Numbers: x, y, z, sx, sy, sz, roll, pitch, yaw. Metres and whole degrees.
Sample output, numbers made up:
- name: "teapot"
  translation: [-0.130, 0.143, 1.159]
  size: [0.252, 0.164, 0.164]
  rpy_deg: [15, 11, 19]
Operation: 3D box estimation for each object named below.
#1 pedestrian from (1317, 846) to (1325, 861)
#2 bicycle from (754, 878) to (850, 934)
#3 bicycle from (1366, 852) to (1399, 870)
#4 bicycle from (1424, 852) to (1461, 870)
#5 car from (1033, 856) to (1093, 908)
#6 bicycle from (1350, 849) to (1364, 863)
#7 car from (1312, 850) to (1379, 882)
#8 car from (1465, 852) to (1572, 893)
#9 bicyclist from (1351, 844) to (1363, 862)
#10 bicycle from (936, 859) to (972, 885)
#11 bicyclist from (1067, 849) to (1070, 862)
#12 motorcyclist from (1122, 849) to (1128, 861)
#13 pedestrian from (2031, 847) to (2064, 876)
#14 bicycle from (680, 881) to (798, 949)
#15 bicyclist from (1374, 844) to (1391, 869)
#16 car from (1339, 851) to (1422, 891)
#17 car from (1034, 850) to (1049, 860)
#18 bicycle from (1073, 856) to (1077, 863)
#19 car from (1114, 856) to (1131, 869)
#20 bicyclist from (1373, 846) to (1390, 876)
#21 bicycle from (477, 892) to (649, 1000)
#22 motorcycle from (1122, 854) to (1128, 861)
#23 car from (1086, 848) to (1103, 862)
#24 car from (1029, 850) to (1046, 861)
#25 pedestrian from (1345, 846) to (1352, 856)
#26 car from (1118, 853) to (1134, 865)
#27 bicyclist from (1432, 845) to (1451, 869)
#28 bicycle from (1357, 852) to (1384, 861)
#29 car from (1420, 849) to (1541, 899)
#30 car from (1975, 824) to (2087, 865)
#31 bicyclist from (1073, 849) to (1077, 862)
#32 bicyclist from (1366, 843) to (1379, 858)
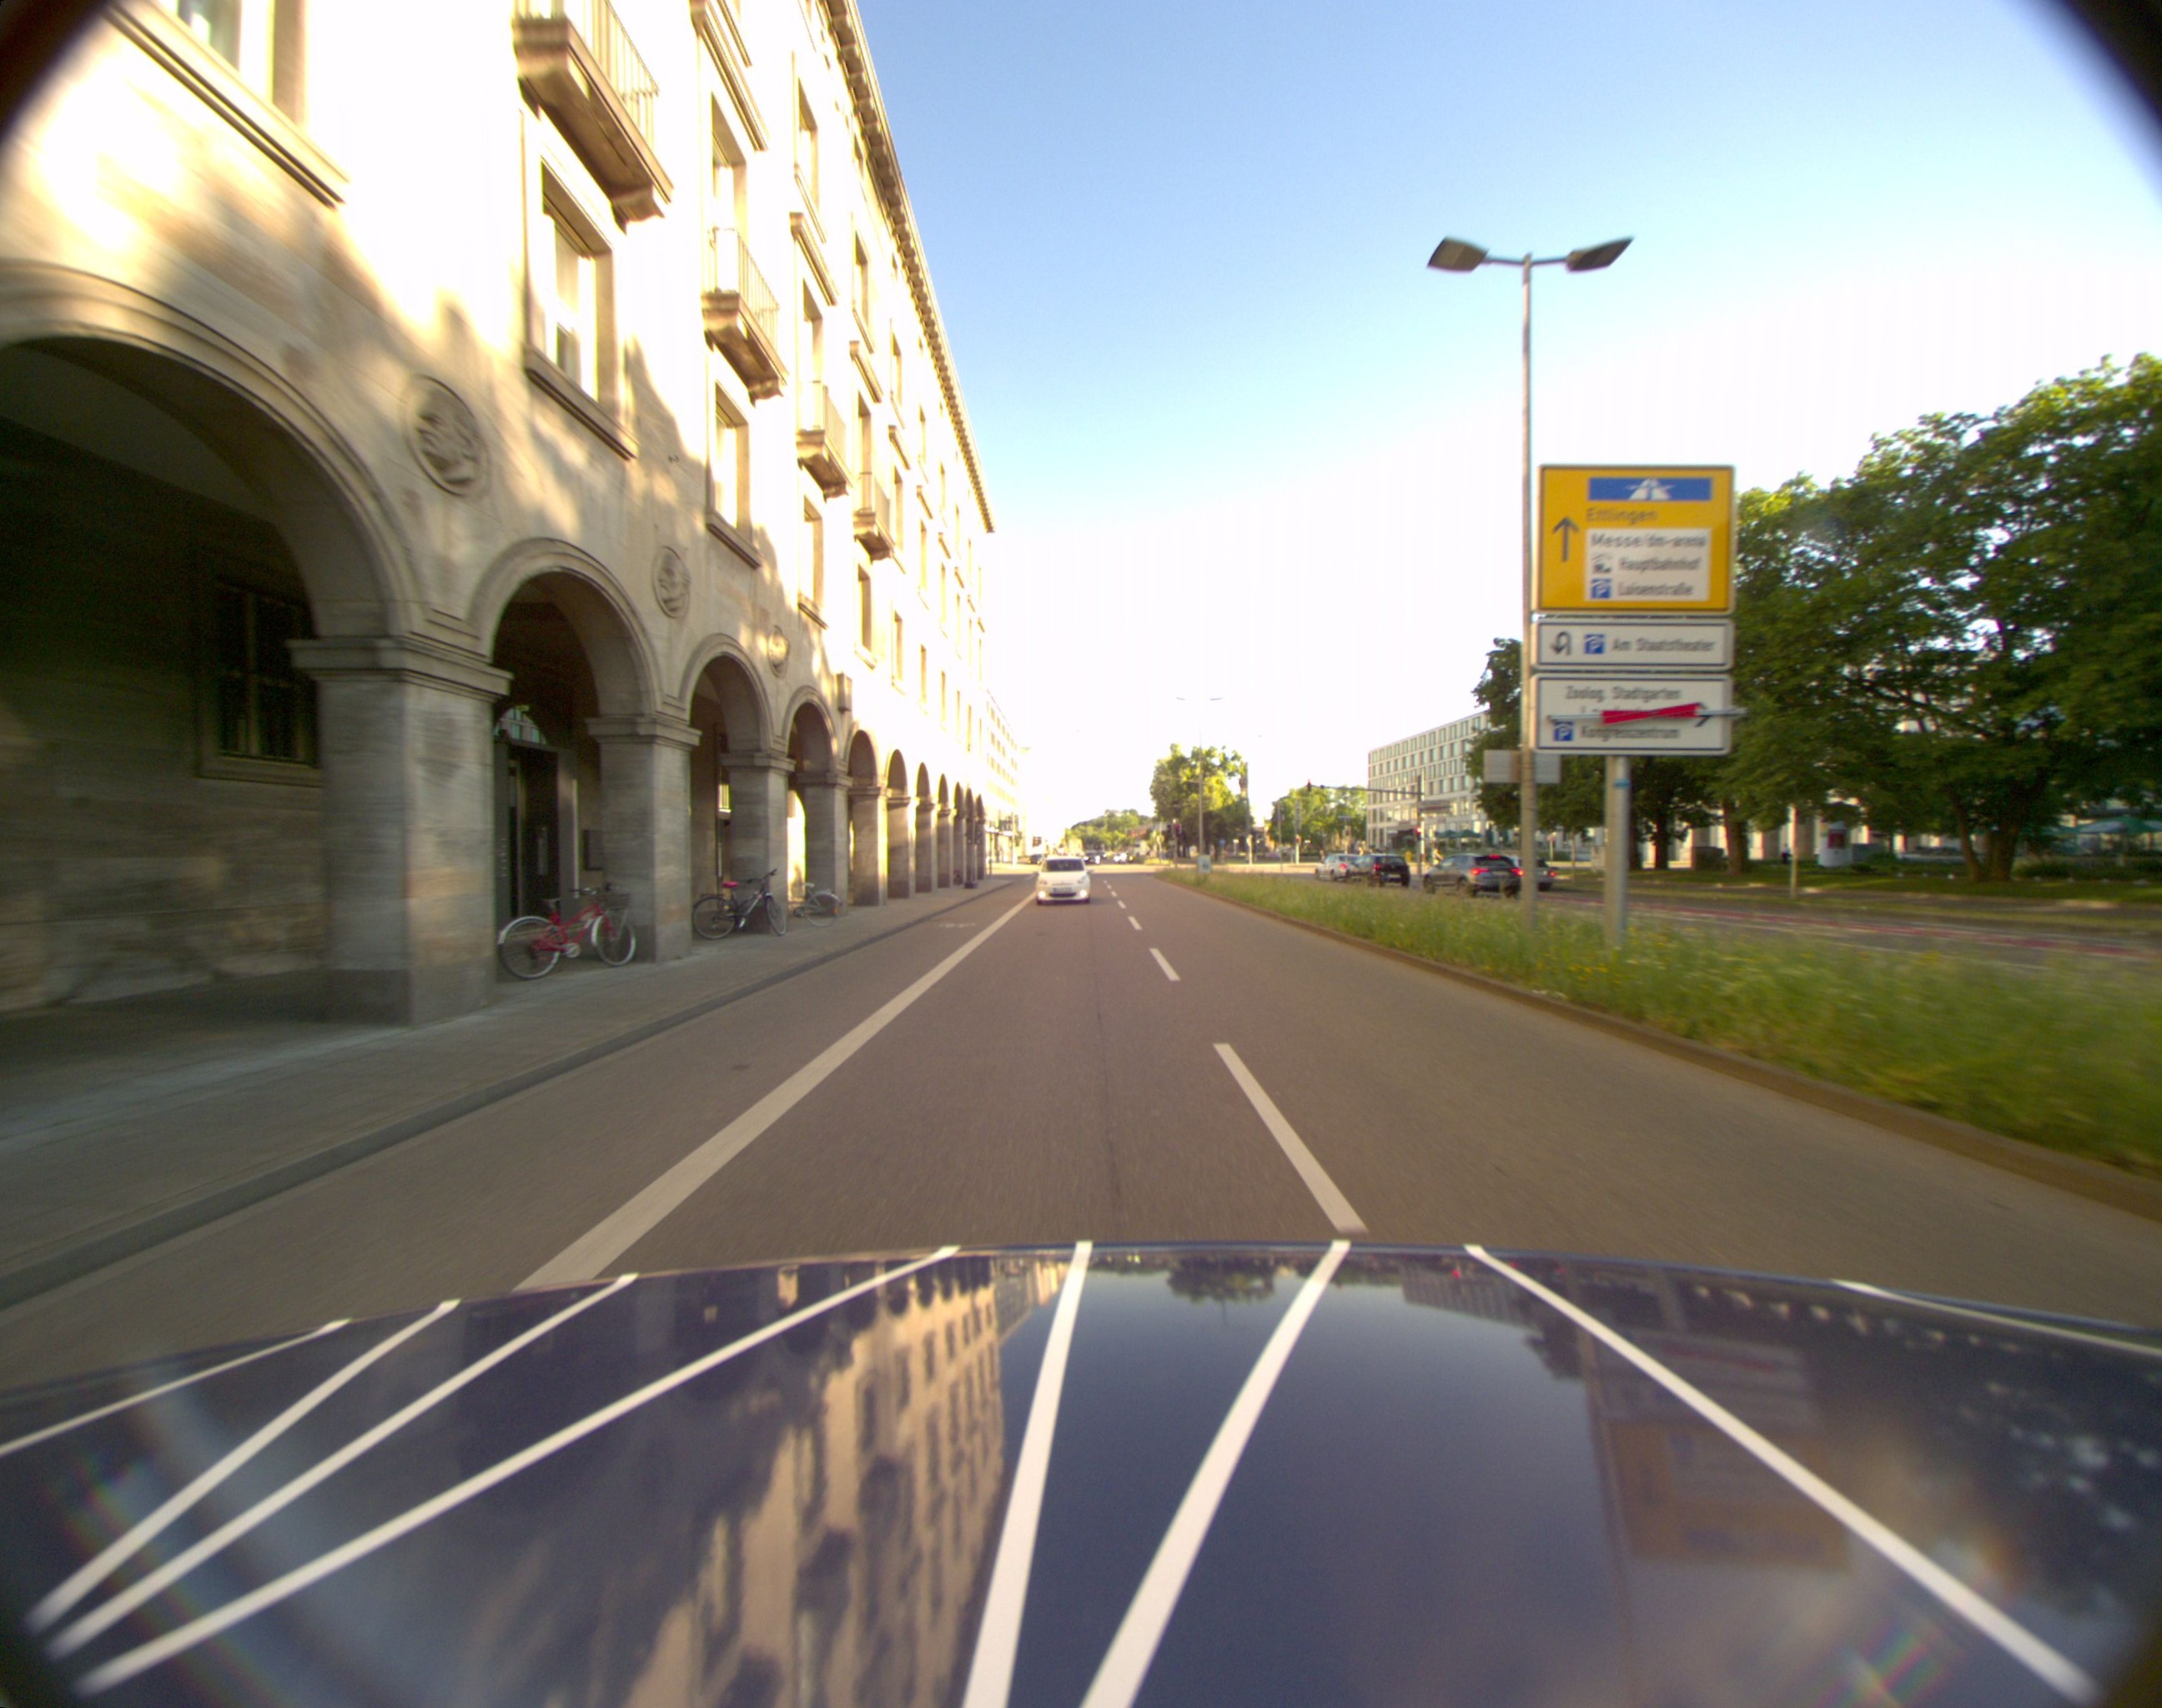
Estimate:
- name: "pedestrian"
  translation: [25.577, -0.053, 80.891]
  size: [0.623, 1.517, 0.603]
  rpy_deg: [0, 1, -4]
- name: "bicycle"
  translation: [-5.452, 1.009, 14.927]
  size: [1.714, 1.044, 0.527]
  rpy_deg: [1, 1, -14]
- name: "bicycle"
  translation: [21.472, 0.479, 54.098]
  size: [2.019, 1.233, 0.778]
  rpy_deg: [0, 3, 0]
- name: "bicycle"
  translation: [26.328, 0.507, 55.292]
  size: [2.310, 1.232, 0.778]
  rpy_deg: [1, -1, 0]
- name: "car"
  translation: [-0.503, 0.828, 24.465]
  size: [1.678, 1.455, 3.765]
  rpy_deg: [-2, 1, 2]
- name: "bicycle"
  translation: [24.535, 0.191, 67.527]
  size: [0.844, 1.223, 2.018]
  rpy_deg: [0, 1, 30]
- name: "car"
  translation: [13.695, 0.569, 39.614]
  size: [1.998, 1.551, 4.549]
  rpy_deg: [0, 1, 1]
- name: "car"
  translation: [18.235, 0.722, 31.940]
  size: [1.938, 1.517, 4.587]
  rpy_deg: [1, 1, 2]
- name: "bicyclist"
  translation: [24.510, -0.095, 67.487]
  size: [0.850, 1.610, 0.974]
  rpy_deg: [0, 1, 30]
- name: "bicycle"
  translation: [-5.784, 0.807, 34.654]
  size: [1.708, 1.126, 0.665]
  rpy_deg: [2, 1, 41]
- name: "bicyclist"
  translation: [-1.432, 0.181, 89.270]
  size: [0.358, 1.567, 0.535]
  rpy_deg: [0, 1, 1]
- name: "motorcyclist"
  translation: [5.286, 0.159, 91.054]
  size: [0.607, 1.438, 0.736]
  rpy_deg: [0, 1, -1]
- name: "pedestrian"
  translation: [45.191, 0.333, 35.528]
  size: [0.733, 1.332, 0.599]
  rpy_deg: [0, 1, 4]
- name: "bicycle"
  translation: [-5.811, 1.002, 12.981]
  size: [0.610, 1.044, 1.717]
  rpy_deg: [2, 1, 44]
- name: "bicyclist"
  translation: [21.461, 0.155, 54.078]
  size: [0.838, 1.734, 0.754]
  rpy_deg: [0, 3, 0]
- name: "car"
  translation: [13.279, 0.699, 34.036]
  size: [1.998, 1.666, 4.549]
  rpy_deg: [0, 1, 1]
- name: "car"
  translation: [-6.033, 0.145, 116.287]
  size: [1.998, 1.564, 4.549]
  rpy_deg: [0, 1, 1]
- name: "bicycle"
  translation: [-0.720, 0.664, 89.485]
  size: [0.452, 0.869, 1.385]
  rpy_deg: [0, 1, 1]
- name: "car"
  translation: [5.214, 1.018, 96.879]
  size: [1.998, 1.564, 4.549]
  rpy_deg: [0, 1, 1]
- name: "bicyclist"
  translation: [16.727, 0.375, 42.282]
  size: [0.782, 1.669, 0.839]
  rpy_deg: [1, 1, 15]
- name: "bicycle"
  translation: [-6.017, 1.021, 8.944]
  size: [0.471, 1.044, 1.716]
  rpy_deg: [2, 1, 20]
- name: "motorcycle"
  translation: [5.291, 0.432, 90.835]
  size: [0.623, 0.791, 1.309]
  rpy_deg: [0, 1, 1]
- name: "car"
  translation: [1.598, 0.109, 89.703]
  size: [1.998, 1.564, 4.549]
  rpy_deg: [0, 0, 1]
- name: "car"
  translation: [-6.284, 0.255, 110.226]
  size: [1.998, 1.564, 4.549]
  rpy_deg: [0, 1, 1]
- name: "pedestrian"
  translation: [41.902, -0.470, 118.913]
  size: [0.784, 1.517, 0.762]
  rpy_deg: [0, 1, 1]
- name: "car"
  translation: [6.240, 0.720, 106.093]
  size: [1.998, 1.564, 4.549]
  rpy_deg: [0, 1, 1]
- name: "bicyclist"
  translation: [26.219, 0.231, 55.279]
  size: [0.924, 1.681, 0.775]
  rpy_deg: [1, 3, 0]
- name: "bicycle"
  translation: [27.634, 0.223, 72.528]
  size: [2.334, 0.846, 0.843]
  rpy_deg: [0, 1, 1]
- name: "car"
  translation: [13.382, 0.612, 25.765]
  size: [1.998, 1.555, 4.060]
  rpy_deg: [0, 1, 1]
- name: "car"
  translation: [69.816, -0.706, 55.891]
  size: [5.086, 2.935, 2.599]
  rpy_deg: [0, 1, -2]
- name: "bicyclist"
  translation: [-0.721, 0.197, 89.412]
  size: [0.453, 1.567, 0.535]
  rpy_deg: [0, 1, 1]
- name: "bicyclist"
  translation: [27.800, -0.340, 72.511]
  size: [0.972, 1.354, 0.826]
  rpy_deg: [0, 1, 1]
